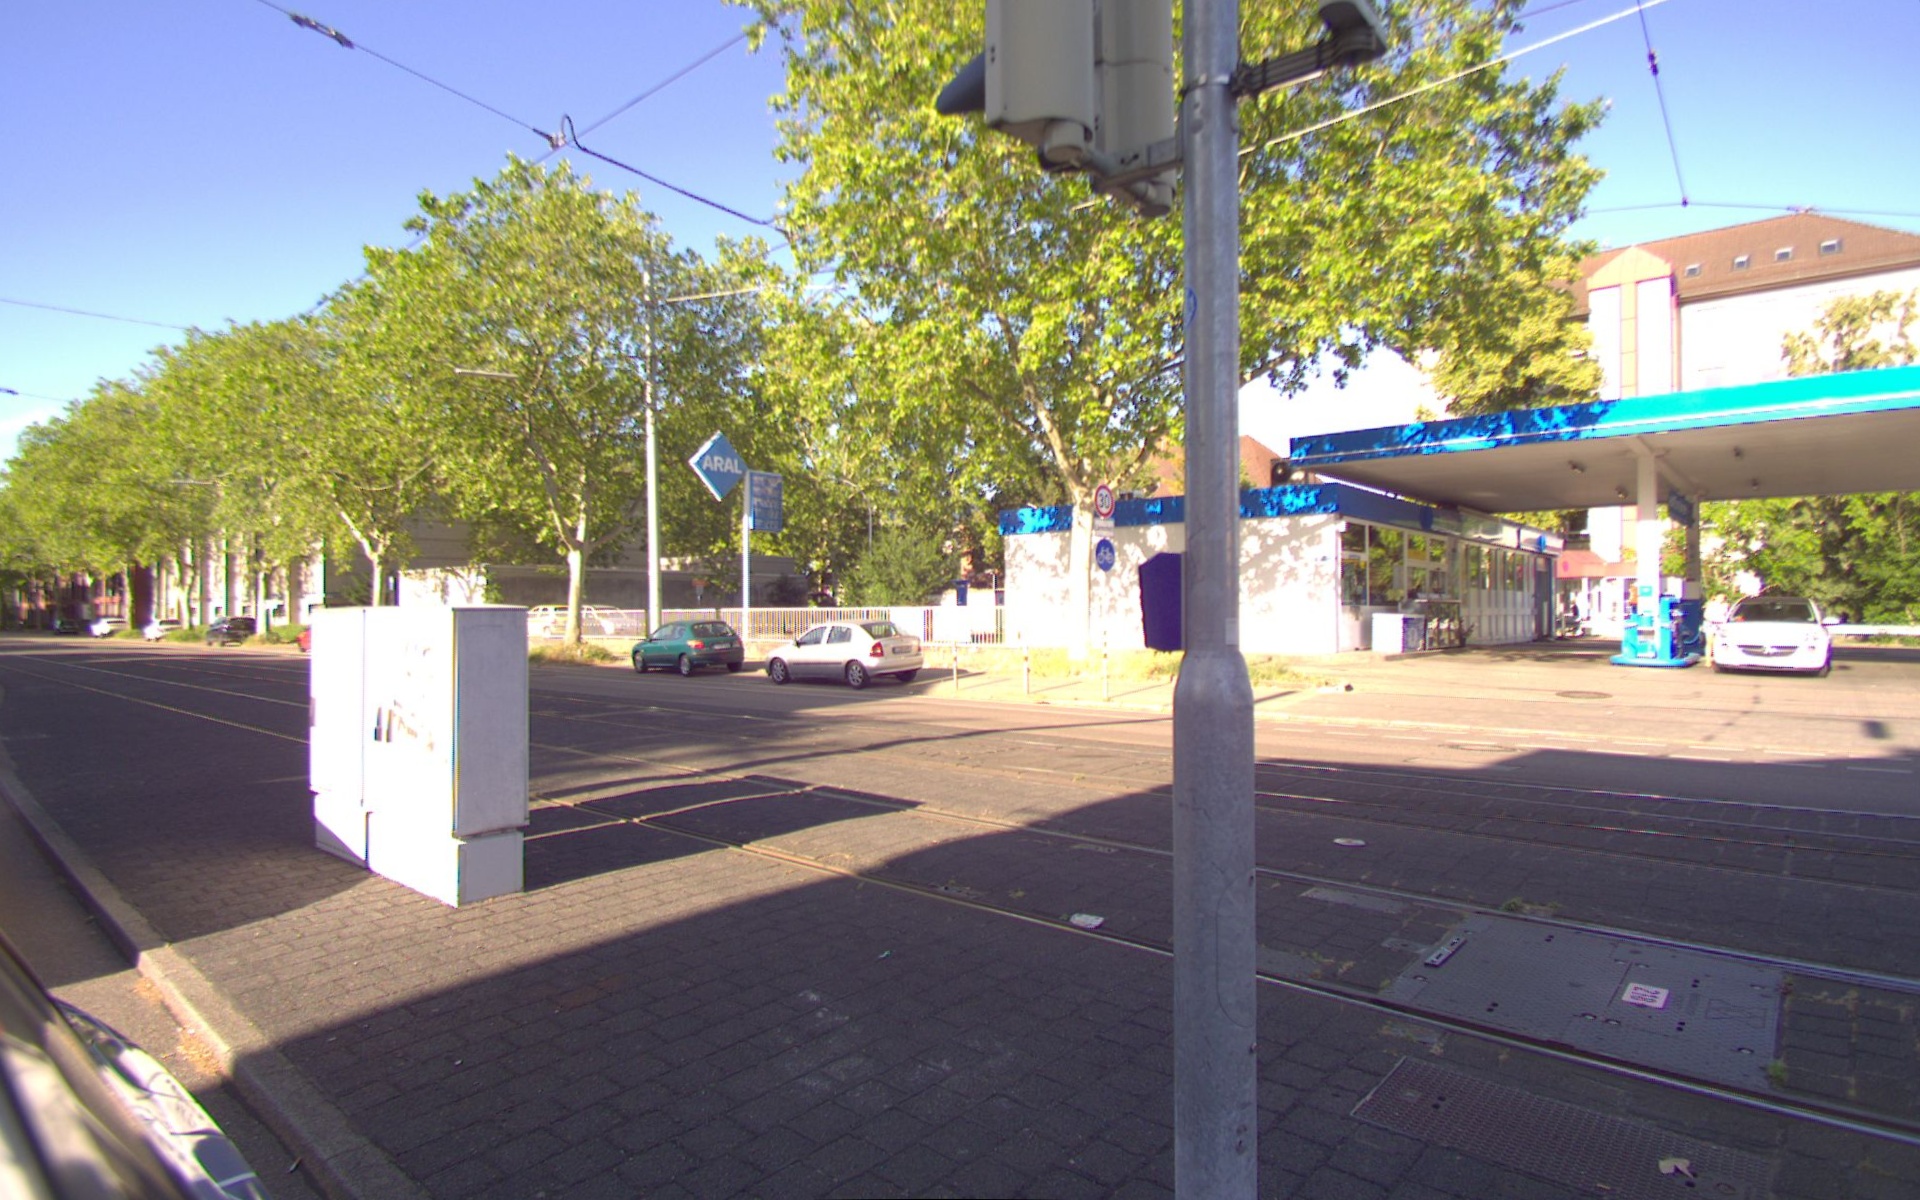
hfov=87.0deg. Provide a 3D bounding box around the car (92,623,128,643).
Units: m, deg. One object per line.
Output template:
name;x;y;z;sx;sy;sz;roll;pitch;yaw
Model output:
car;-66.920;2.579;79.645;3.858;1.495;1.735;-1;0;43

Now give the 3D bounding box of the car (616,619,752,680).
car;-7.428;1.274;27.078;3.858;1.408;1.722;-1;1;43

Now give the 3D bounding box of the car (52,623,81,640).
car;-84.866;3.012;96.120;3.858;1.495;1.735;-1;0;43

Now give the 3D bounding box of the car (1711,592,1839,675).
car;15.946;0.614;19.784;1.793;1.453;3.946;-1;-1;40

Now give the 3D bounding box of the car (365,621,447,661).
car;-21.979;1.588;40.094;3.858;1.468;1.735;-1;0;43

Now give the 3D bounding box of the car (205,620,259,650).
car;-40.670;1.955;56.489;3.858;1.557;1.735;-1;0;43

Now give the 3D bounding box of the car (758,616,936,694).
car;-2.568;1.167;22.598;3.857;1.497;1.823;-1;1;42

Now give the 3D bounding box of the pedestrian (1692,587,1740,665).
pedestrian;16.146;0.554;21.622;0.643;1.642;0.806;-1;-1;26

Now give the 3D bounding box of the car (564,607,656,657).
car;-15.140;1.364;43.692;3.996;2.029;1.974;-1;-1;39

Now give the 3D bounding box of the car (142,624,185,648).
car;-53.632;2.398;68.125;3.858;1.495;1.735;-1;0;43

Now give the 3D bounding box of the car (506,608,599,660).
car;-17.039;1.394;42.265;3.996;2.029;1.974;-1;-1;39

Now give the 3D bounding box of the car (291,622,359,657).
car;-28.906;1.774;46.048;3.858;1.440;1.695;-1;0;43
